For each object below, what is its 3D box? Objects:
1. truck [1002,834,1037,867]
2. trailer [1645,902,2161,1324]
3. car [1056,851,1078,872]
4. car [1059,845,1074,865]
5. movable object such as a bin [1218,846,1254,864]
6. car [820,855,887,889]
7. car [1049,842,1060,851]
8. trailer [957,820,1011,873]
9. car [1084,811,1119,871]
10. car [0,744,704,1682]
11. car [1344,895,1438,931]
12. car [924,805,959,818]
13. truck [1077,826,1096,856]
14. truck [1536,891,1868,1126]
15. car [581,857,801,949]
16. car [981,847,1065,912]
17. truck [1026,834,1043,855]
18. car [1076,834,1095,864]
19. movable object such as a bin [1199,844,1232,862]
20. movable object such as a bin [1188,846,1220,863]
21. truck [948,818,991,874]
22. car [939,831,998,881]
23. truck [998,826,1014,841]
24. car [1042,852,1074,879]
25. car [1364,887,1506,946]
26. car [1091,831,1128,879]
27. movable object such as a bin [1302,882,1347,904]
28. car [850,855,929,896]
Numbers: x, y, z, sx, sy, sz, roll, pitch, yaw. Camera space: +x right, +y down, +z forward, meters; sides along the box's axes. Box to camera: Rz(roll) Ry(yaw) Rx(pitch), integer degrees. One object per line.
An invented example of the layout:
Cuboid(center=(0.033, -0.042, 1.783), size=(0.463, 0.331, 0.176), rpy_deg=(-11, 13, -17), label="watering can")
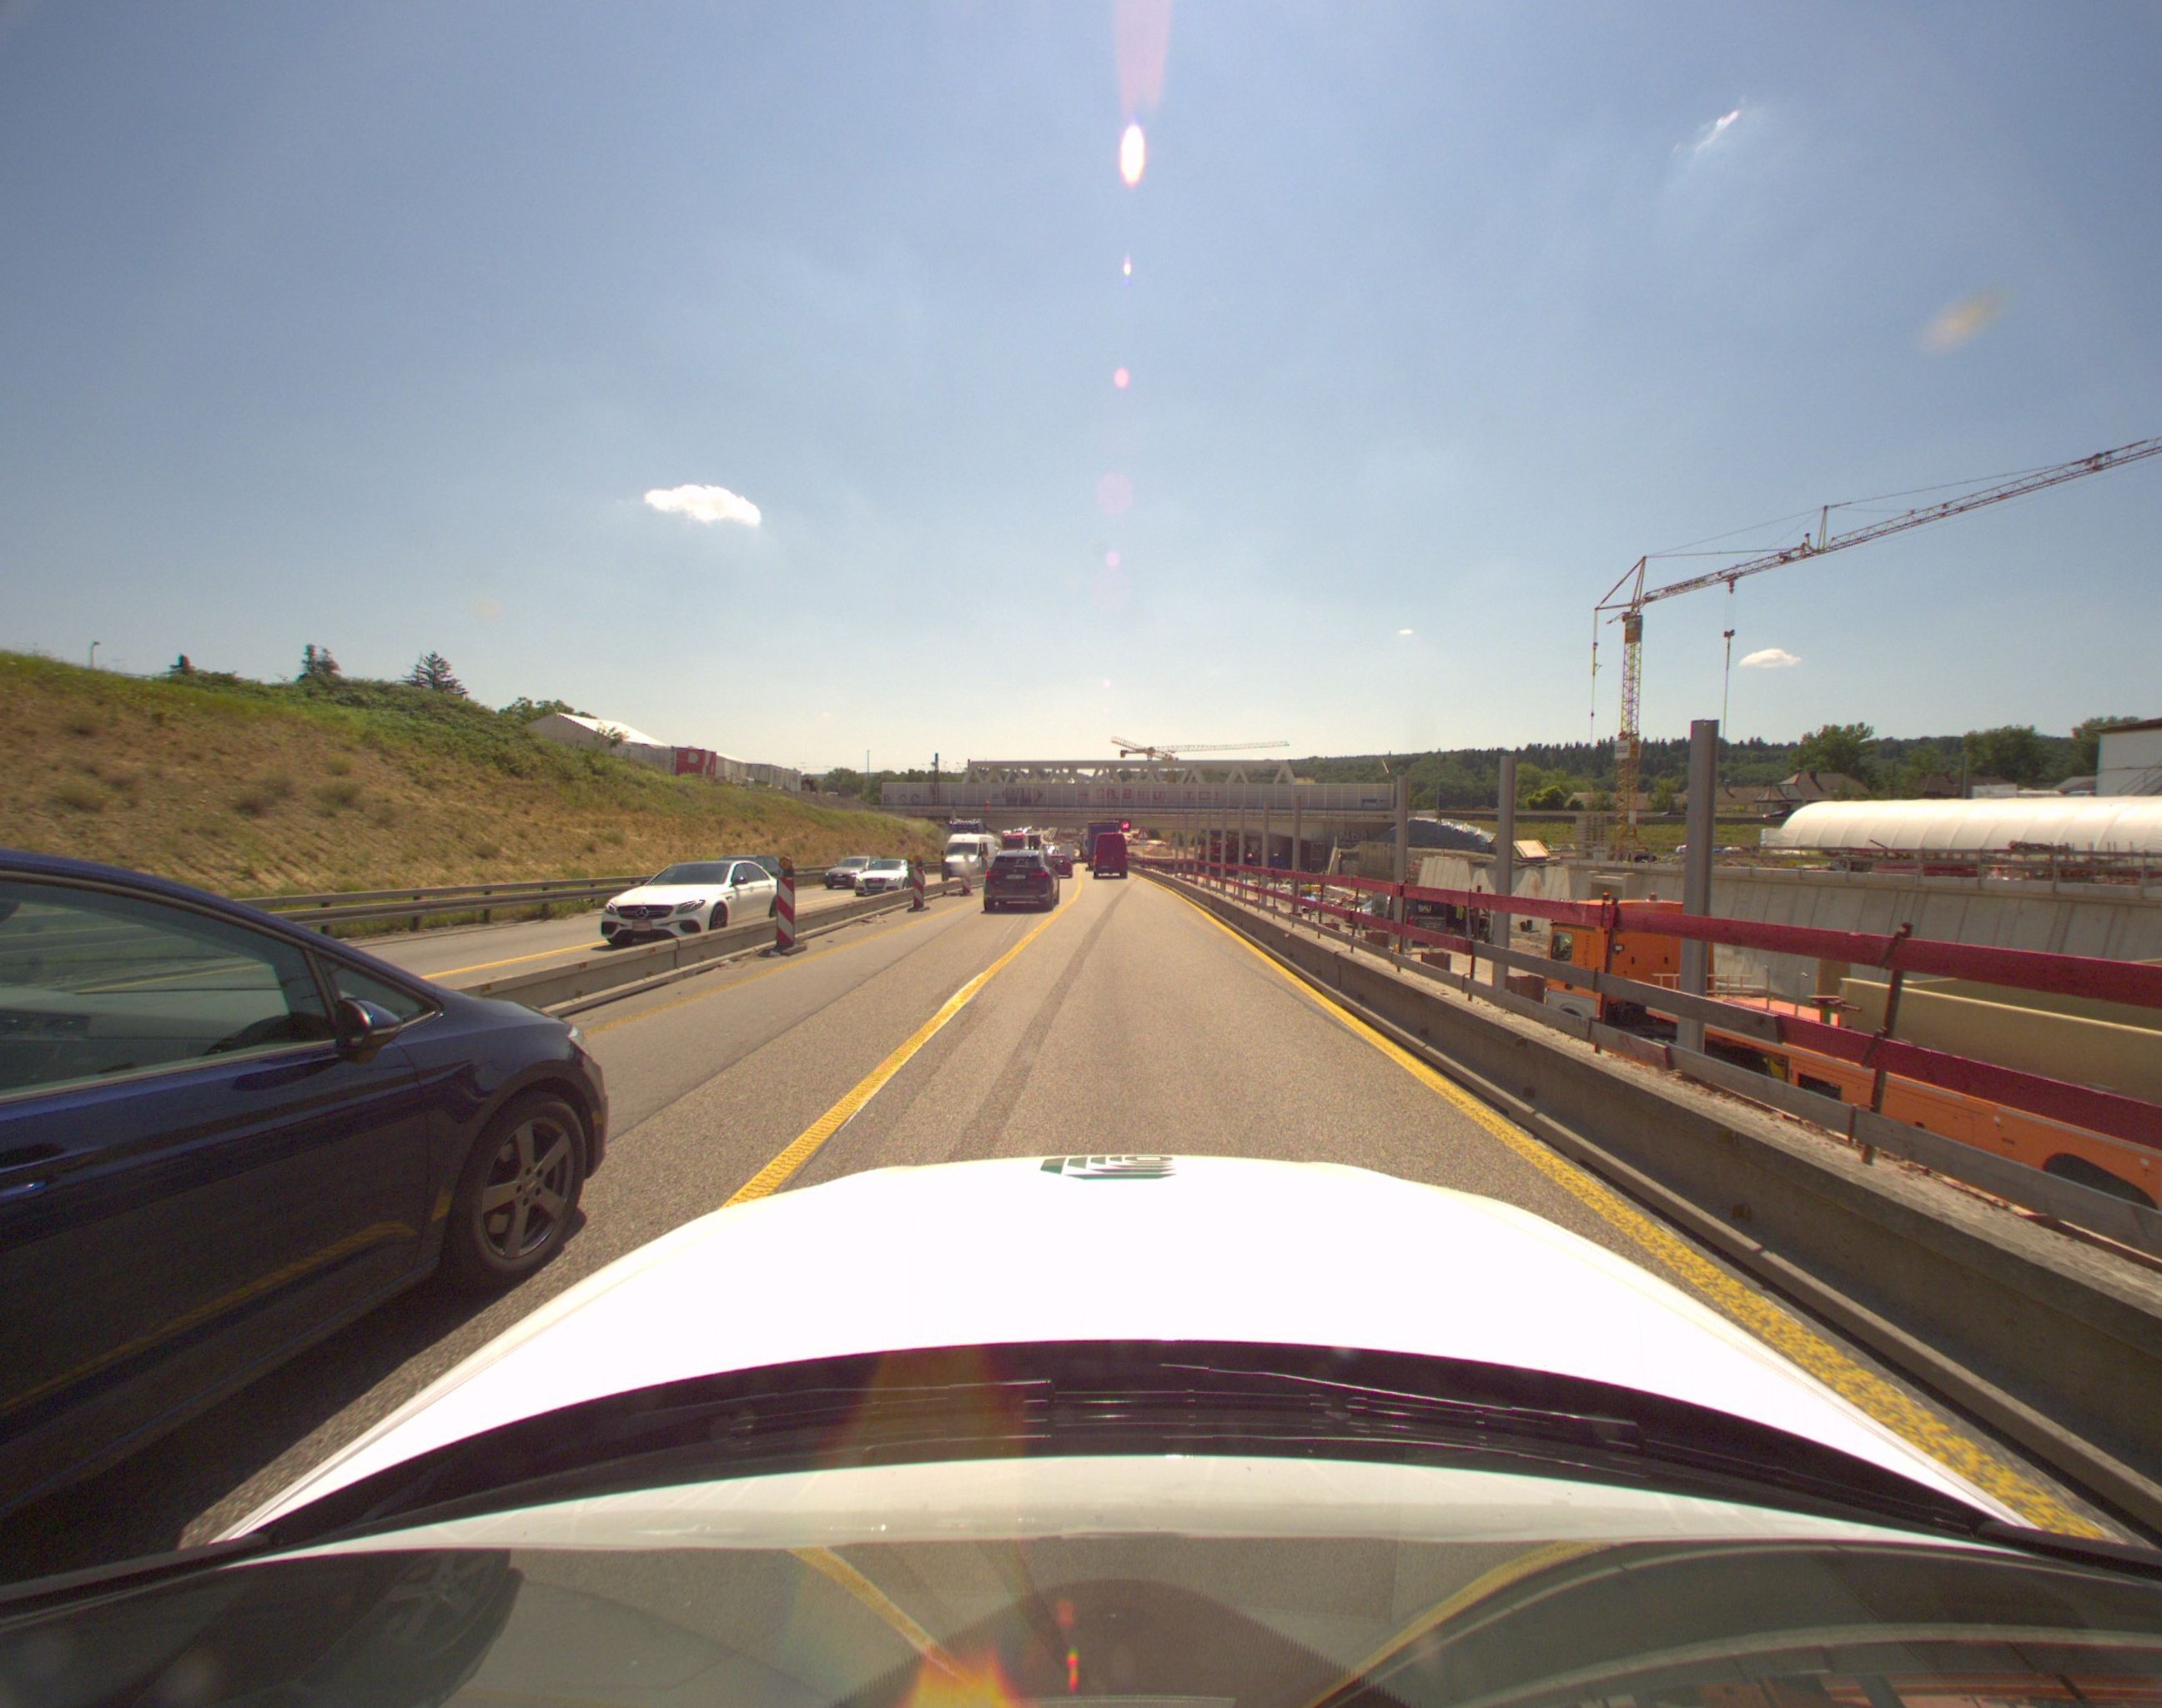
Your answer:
Cuboid(center=(-7.707, -0.457, 103.542), size=(2.823, 3.852, 12.922), rpy_deg=(0, 0, 3), label="truck")
Cuboid(center=(12.704, 2.962, 9.935), size=(2.749, 3.886, 13.049), rpy_deg=(0, 0, 1), label="trailer")
Cuboid(center=(-1.201, 0.627, 70.587), size=(1.834, 1.654, 4.162), rpy_deg=(-1, 1, -2), label="car")
Cuboid(center=(-1.787, 0.124, 100.916), size=(1.771, 2.441, 4.204), rpy_deg=(-1, 0, -1), label="car")
Cuboid(center=(23.528, 0.165, 123.862), size=(5.123, 2.807, 2.145), rpy_deg=(0, 0, 4), label="movable object such as a bin")
Cuboid(center=(-10.360, 0.767, 37.362), size=(1.758, 1.447, 4.131), rpy_deg=(0, 0, 2), label="car")
Cuboid(center=(-6.410, -1.794, 193.678), size=(1.994, 2.013, 3.985), rpy_deg=(0, 0, -11), label="car")
Cuboid(center=(-7.805, -0.619, 66.943), size=(2.337, 4.015, 11.461), rpy_deg=(0, 0, 4), label="trailer")
Cuboid(center=(1.736, -1.143, 73.567), size=(2.613, 5.032, 10.391), rpy_deg=(-1, 0, -1), label="car")
Cuboid(center=(-2.855, 0.653, 1.716), size=(1.769, 1.718, 4.656), rpy_deg=(0, 1, 2), label="car")
Cuboid(center=(17.991, 3.422, 47.388), size=(4.712, 1.773, 2.000), rpy_deg=(2, 2, 0), label="car")
Cuboid(center=(-19.988, -6.042, 116.889), size=(4.523, 1.783, 1.967), rpy_deg=(0, 0, 12), label="car")
Cuboid(center=(0.929, -2.422, 153.568), size=(2.829, 5.398, 12.895), rpy_deg=(0, 0, -4), label="truck")
Cuboid(center=(12.775, 2.906, 17.533), size=(2.749, 3.886, 5.882), rpy_deg=(0, 0, 0), label="truck")
Cuboid(center=(-7.346, 0.823, 16.049), size=(1.955, 1.464, 4.939), rpy_deg=(0, 0, 0), label="car")
Cuboid(center=(-1.517, 0.637, 22.965), size=(1.872, 1.618, 4.501), rpy_deg=(-1, 0, 2), label="car")
Cuboid(center=(-8.850, -1.709, 155.895), size=(2.826, 3.852, 12.907), rpy_deg=(0, 0, -1), label="truck")
Cuboid(center=(0.549, -0.710, 113.940), size=(2.443, 4.161, 6.857), rpy_deg=(-1, 0, -1), label="car")
Cuboid(center=(21.599, -0.171, 130.841), size=(5.123, 2.807, 2.145), rpy_deg=(0, 0, 4), label="movable object such as a bin")
Cuboid(center=(20.372, 0.096, 135.233), size=(5.123, 2.807, 2.145), rpy_deg=(0, 0, 4), label="movable object such as a bin")
Cuboid(center=(-8.206, -0.590, 60.244), size=(2.347, 4.015, 4.004), rpy_deg=(0, 0, 4), label="truck")
Cuboid(center=(-6.281, 0.094, 46.348), size=(1.985, 2.606, 7.017), rpy_deg=(0, 0, 3), label="car")
Cuboid(center=(-20.036, -5.412, 216.928), size=(2.836, 3.852, 12.861), rpy_deg=(0, 0, -11), label="truck")
Cuboid(center=(-1.382, 0.679, 50.073), size=(1.770, 1.517, 4.206), rpy_deg=(-1, 0, 1), label="car")
Cuboid(center=(17.592, 3.081, 40.614), size=(6.089, 2.584, 2.521), rpy_deg=(1, 2, -11), label="car")
Cuboid(center=(1.671, 0.035, 49.368), size=(1.983, 2.690, 4.621), rpy_deg=(-1, 0, -1), label="car")
Cuboid(center=(19.262, 3.068, 64.485), size=(3.067, 1.563, 1.563), rpy_deg=(0, 0, 35), label="movable object such as a bin")
Cuboid(center=(-7.278, 0.778, 31.437), size=(1.793, 1.447, 4.640), rpy_deg=(0, 0, 2), label="car")
